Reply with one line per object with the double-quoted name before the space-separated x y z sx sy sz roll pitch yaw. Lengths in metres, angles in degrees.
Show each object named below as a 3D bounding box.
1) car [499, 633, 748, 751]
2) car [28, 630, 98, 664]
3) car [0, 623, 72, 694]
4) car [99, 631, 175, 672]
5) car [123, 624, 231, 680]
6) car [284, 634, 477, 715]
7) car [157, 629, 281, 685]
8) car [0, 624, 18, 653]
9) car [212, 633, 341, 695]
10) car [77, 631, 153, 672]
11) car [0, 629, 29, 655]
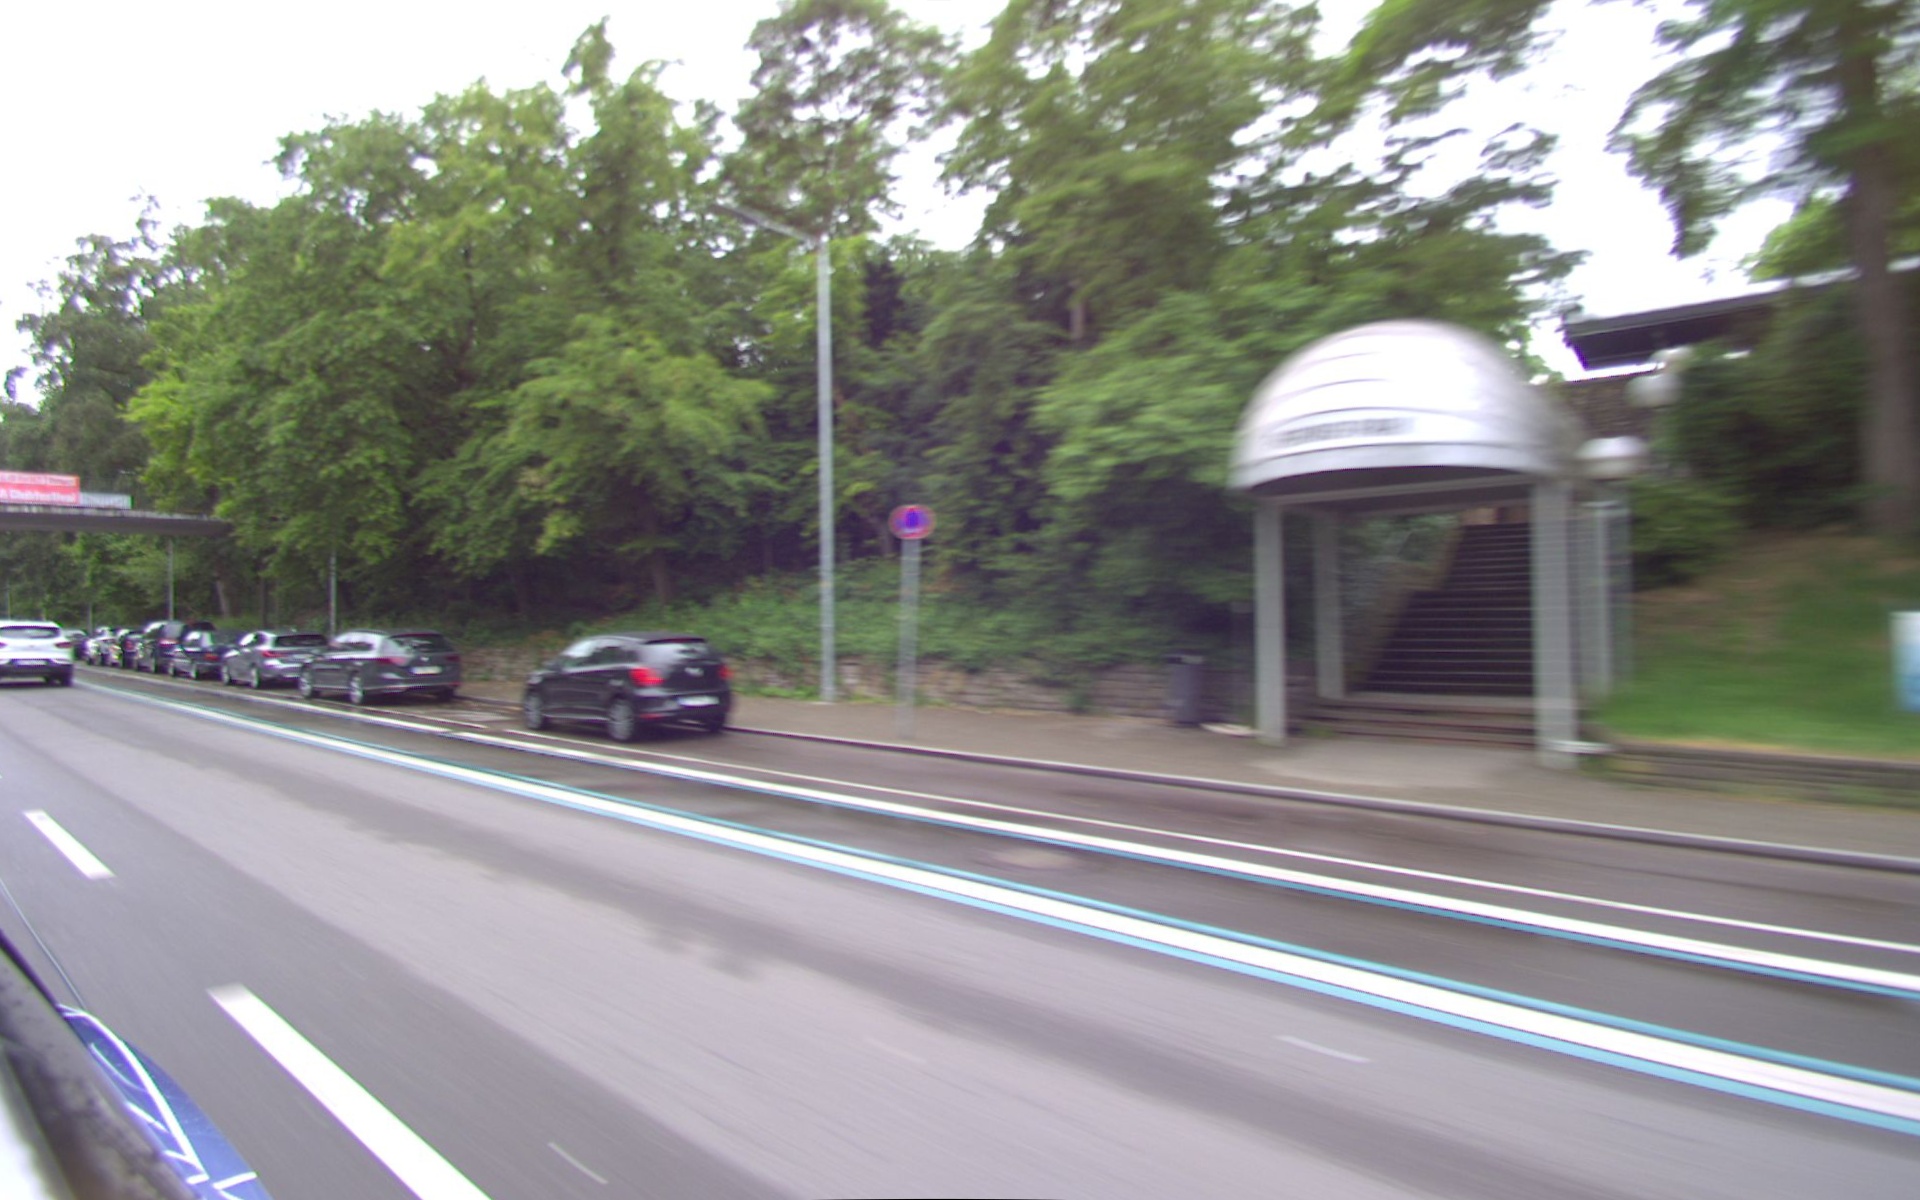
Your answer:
"car" -4.986 1.223 14.744 3.991 1.468 1.653 -1 -2 41
"car" -41.929 2.173 47.297 4.035 1.488 1.813 -2 -2 39
"car" -23.797 1.426 25.415 4.128 1.664 1.776 -2 -3 42
"car" -30.557 1.886 37.557 3.842 1.450 1.592 -2 -2 42
"car" -26.447 1.730 34.114 4.835 1.755 1.970 -2 -2 41
"car" -12.026 1.441 20.886 4.752 1.474 1.936 -2 -2 40
"car" -22.206 1.667 30.254 4.894 1.484 1.963 -2 -1 41
"car" -68.734 2.753 71.780 5.010 2.020 1.955 -2 -1 37
"car" -17.597 1.589 25.985 4.294 1.434 1.765 -2 -2 42
"car" -33.879 2.040 40.546 4.230 1.558 1.670 -2 -2 41
"car" -62.126 2.727 65.638 4.776 1.618 1.989 -2 -2 41
